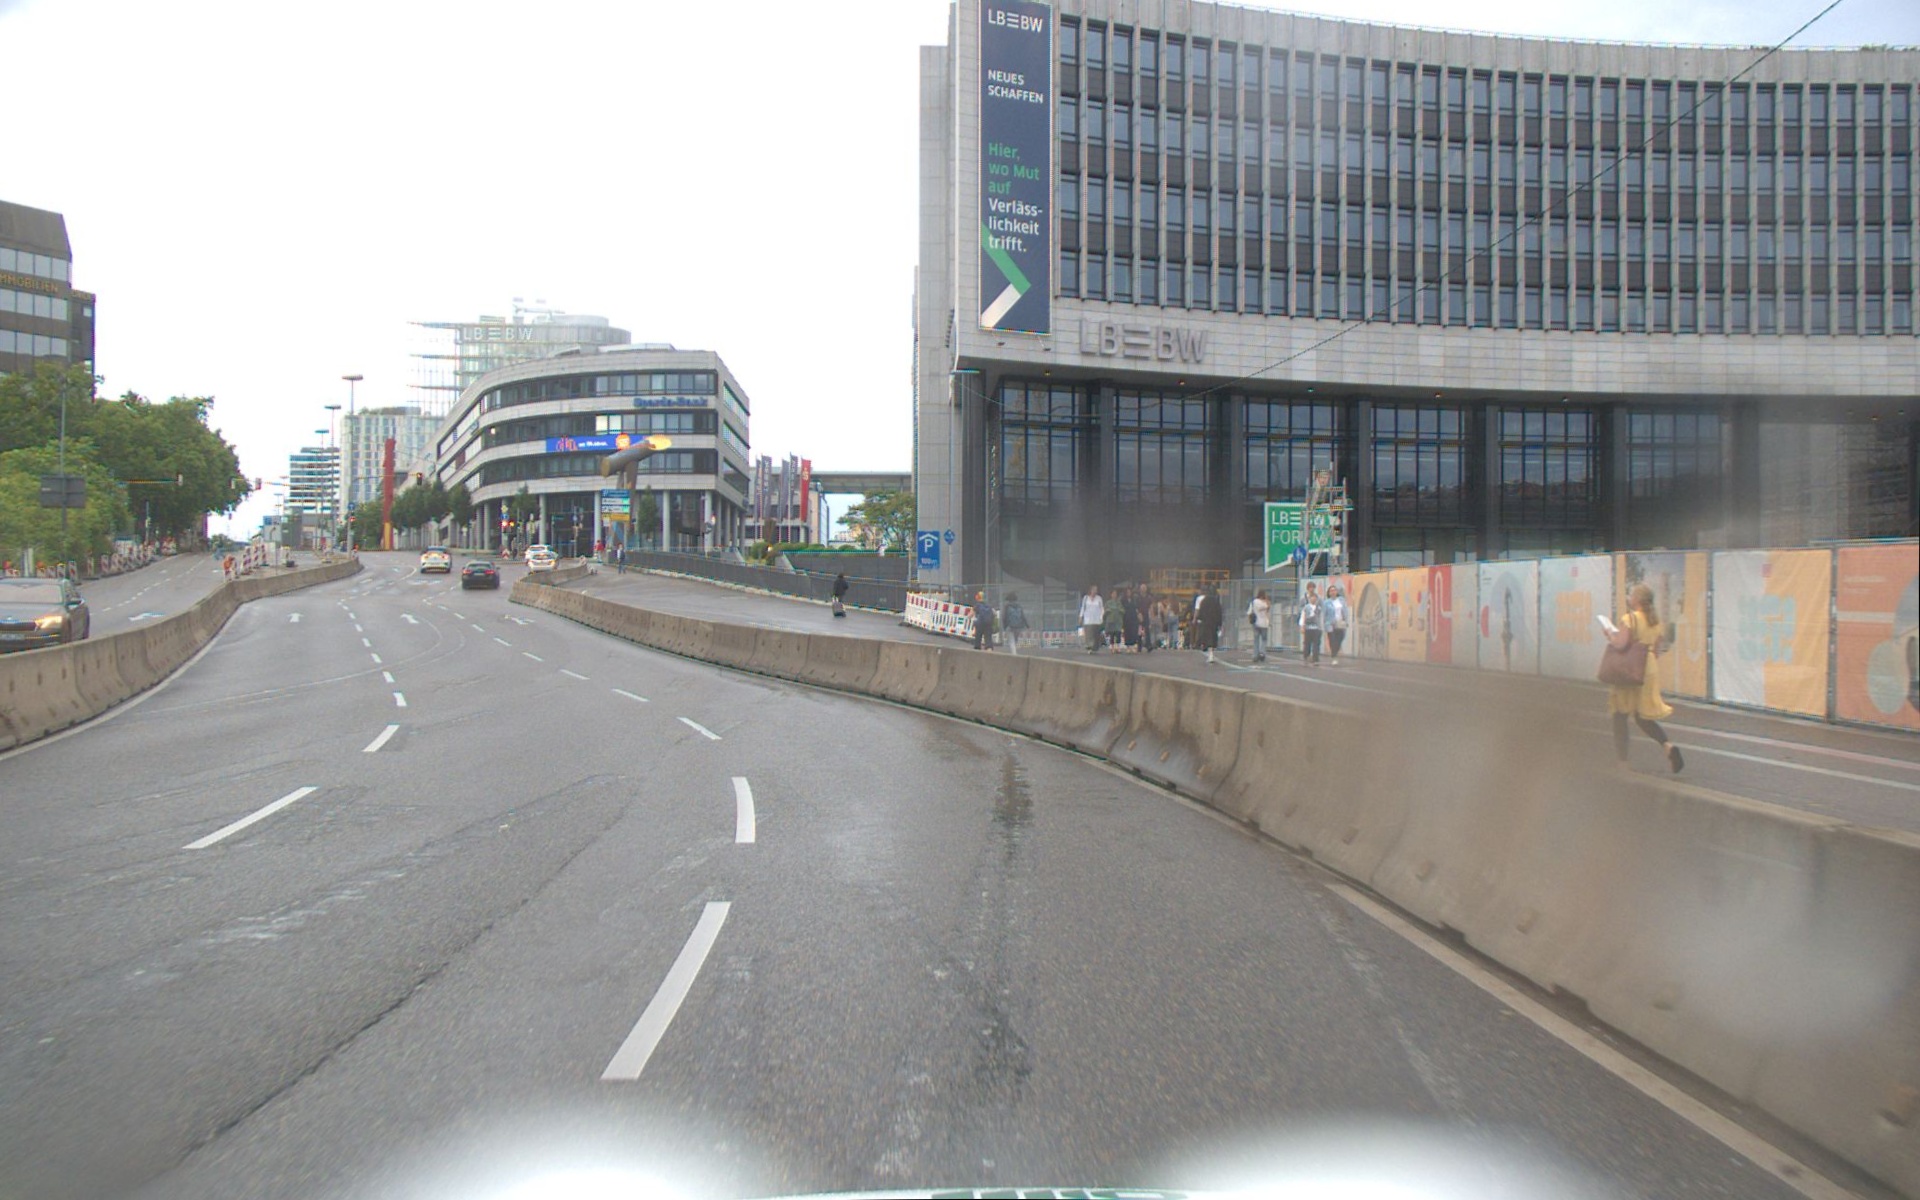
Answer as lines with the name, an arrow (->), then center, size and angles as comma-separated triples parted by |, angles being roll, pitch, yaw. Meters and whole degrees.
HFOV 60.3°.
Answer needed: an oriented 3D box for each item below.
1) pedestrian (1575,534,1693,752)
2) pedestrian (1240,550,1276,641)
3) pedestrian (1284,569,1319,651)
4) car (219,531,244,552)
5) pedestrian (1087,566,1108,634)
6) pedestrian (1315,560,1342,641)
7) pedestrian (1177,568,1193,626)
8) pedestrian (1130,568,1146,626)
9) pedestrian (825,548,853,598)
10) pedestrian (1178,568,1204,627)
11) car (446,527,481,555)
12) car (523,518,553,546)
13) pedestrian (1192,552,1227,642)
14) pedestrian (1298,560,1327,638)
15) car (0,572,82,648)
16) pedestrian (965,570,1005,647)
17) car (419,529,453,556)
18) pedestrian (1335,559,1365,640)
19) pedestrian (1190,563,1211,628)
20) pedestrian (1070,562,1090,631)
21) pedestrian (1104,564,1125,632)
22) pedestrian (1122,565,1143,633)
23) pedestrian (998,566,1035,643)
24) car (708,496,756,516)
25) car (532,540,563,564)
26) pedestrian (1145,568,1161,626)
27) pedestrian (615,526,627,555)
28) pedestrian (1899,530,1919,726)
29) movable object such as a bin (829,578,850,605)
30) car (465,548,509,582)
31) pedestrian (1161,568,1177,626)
pedestrian -> 6.011, 0.375, 14.791 | 0.717, 1.886, 0.831 | 0, 0, 0
pedestrian -> 6.819, -0.112, 37.910 | 0.767, 2.049, 0.863 | 0, 0, 8
pedestrian -> 7.368, 0.212, 35.670 | 0.613, 1.734, 0.647 | 0, 0, 0
car -> -60.080, -4.808, 136.357 | 1.578, 1.376, 3.732 | 1, -2, -20
pedestrian -> 3.513, -0.003, 42.160 | 0.439, 1.734, 0.646 | 0, 0, -3
pedestrian -> 7.935, 0.006, 35.632 | 0.439, 1.734, 0.647 | 0, 0, 0
pedestrian -> 6.754, -0.091, 49.631 | 0.438, 1.734, 0.647 | 0, 1, 10
pedestrian -> 5.362, -0.088, 49.879 | 0.438, 1.734, 0.647 | 0, 0, 10
pedestrian -> -4.426, -0.982, 60.515 | 0.745, 1.821, 1.051 | 0, 0, -19
pedestrian -> 6.835, -0.077, 48.857 | 0.507, 1.734, 0.567 | 0, 1, -36
car -> -34.544, -4.066, 115.136 | 1.959, 1.835, 4.253 | 0, 1, -12
car -> -30.340, -4.878, 119.045 | 1.959, 1.835, 4.253 | 0, 1, -12
pedestrian -> 5.748, -0.073, 38.102 | 0.767, 2.049, 0.863 | 0, 0, 8
pedestrian -> 7.968, -0.033, 37.395 | 0.490, 1.734, 0.733 | 0, 0, 0
car -> -18.442, 0.240, 32.707 | 1.580, 1.376, 3.725 | 1, -3, -24
pedestrian -> 0.549, 0.186, 36.229 | 0.737, 1.670, 0.821 | 0, 0, -11
car -> -33.299, -3.643, 105.043 | 1.718, 1.532, 3.726 | 0, 0, -24
pedestrian -> 8.442, -0.024, 35.827 | 0.492, 1.734, 0.647 | 0, 0, 0
pedestrian -> 6.880, -0.127, 47.265 | 0.518, 1.850, 0.536 | 0, 0, 1
pedestrian -> 3.054, -0.099, 42.117 | 0.439, 1.734, 0.646 | 0, 0, -3
pedestrian -> 3.952, -0.057, 42.431 | 0.444, 1.734, 0.646 | 0, 0, -3
pedestrian -> 4.436, -0.018, 42.553 | 0.439, 1.734, 0.646 | 0, 0, -3
pedestrian -> 1.241, 0.083, 36.361 | 0.647, 1.670, 0.821 | 0, 0, -11
car -> -18.589, -7.632, 134.966 | 1.597, 1.460, 3.720 | 1, 1, 40
car -> -25.399, -2.943, 101.940 | 1.793, 1.376, 3.853 | 0, 1, -13
pedestrian -> 5.826, -0.103, 49.810 | 0.438, 1.734, 0.647 | 0, 0, 10
pedestrian -> -21.079, -3.679, 102.783 | 0.612, 1.795, 0.590 | 0, 1, 3
pedestrian -> 9.696, 0.266, 15.966 | 0.763, 1.894, 0.811 | -1, 0, -2
movable object such as a bin -> -4.372, -0.304, 60.082 | 0.589, 0.950, 0.737 | 1, -2, -20
car -> -24.733, -1.798, 86.501 | 1.643, 1.535, 3.738 | 0, -2, -7
pedestrian -> 6.291, -0.098, 49.705 | 0.438, 1.734, 0.647 | 0, 0, 10
